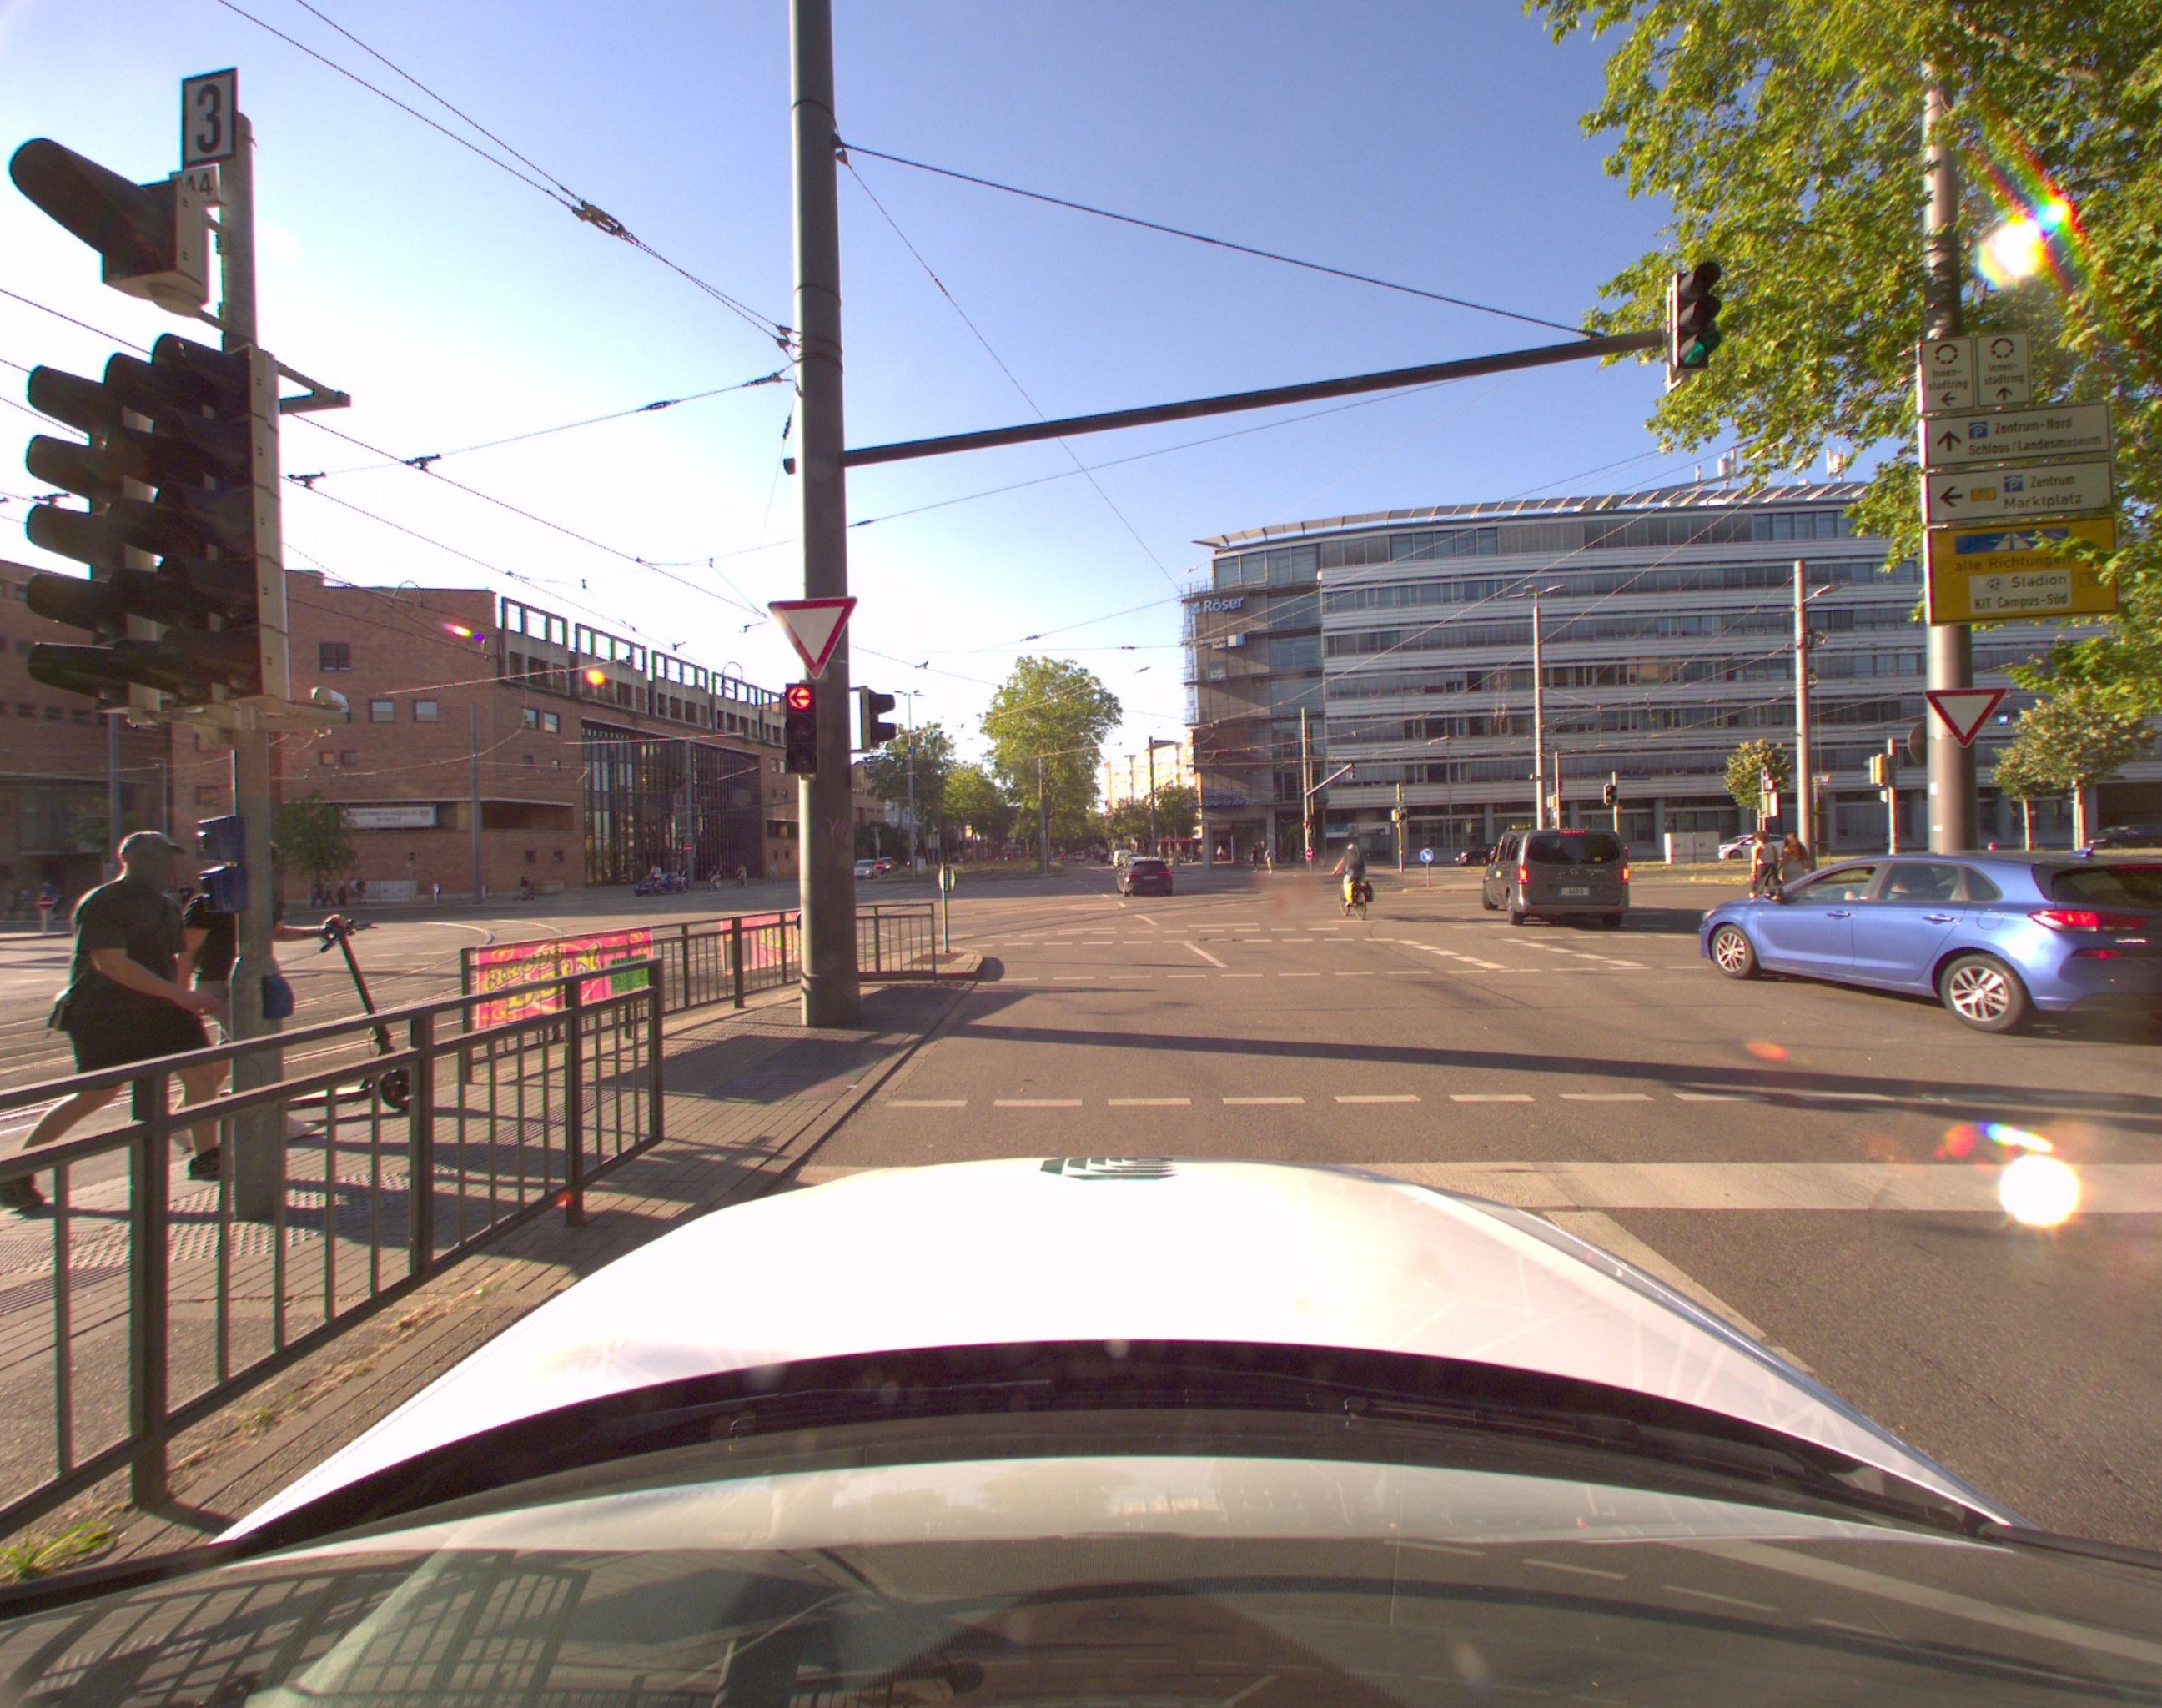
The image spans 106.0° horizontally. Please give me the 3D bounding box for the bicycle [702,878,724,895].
[{"bbox_3d":[-24.305,2.146,53.824,0.692,0.998,1.898,-2,0,-5],"label":"bicycle"}]

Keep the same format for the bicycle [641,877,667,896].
[{"bbox_3d":[-24.140,1.835,46.069,0.652,0.998,1.896,-2,0,-8],"label":"bicycle"}]

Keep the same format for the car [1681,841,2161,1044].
[{"bbox_3d":[8.228,0.633,7.992,1.740,1.459,4.215,-1,0,3],"label":"car"}]

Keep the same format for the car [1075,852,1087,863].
[{"bbox_3d":[0.038,0.666,157.039,1.985,2.014,4.002,0,-3,3],"label":"car"}]

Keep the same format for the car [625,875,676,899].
[{"bbox_3d":[-27.259,2.060,51.646,1.579,1.376,3.706,-2,0,-7],"label":"car"}]

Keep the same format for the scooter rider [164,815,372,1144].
[{"bbox_3d":[-4.919,0.723,4.968,0.563,1.853,0.681,-2,-2,6],"label":"scooter rider"}]

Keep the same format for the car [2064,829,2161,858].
[{"bbox_3d":[58.507,-0.588,45.737,4.097,1.596,1.884,0,-1,5],"label":"car"}]

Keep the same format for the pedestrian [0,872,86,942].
[{"bbox_3d":[-30.992,1.556,24.333,1.029,2.014,1.208,0,-1,1],"label":"pedestrian"}]

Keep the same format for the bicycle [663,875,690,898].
[{"bbox_3d":[-23.041,1.834,46.383,0.684,1.142,2.105,-2,2,-7],"label":"bicycle"}]

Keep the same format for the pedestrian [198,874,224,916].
[{"bbox_3d":[-42.291,1.986,39.572,0.615,2.013,0.726,-2,0,-28],"label":"pedestrian"}]

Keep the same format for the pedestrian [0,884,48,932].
[{"bbox_3d":[-45.069,2.286,34.716,0.782,1.983,0.927,-2,0,0],"label":"pedestrian"}]

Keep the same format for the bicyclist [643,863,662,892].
[{"bbox_3d":[-24.136,1.302,45.888,0.660,1.574,0.756,-2,0,-9],"label":"bicyclist"}]

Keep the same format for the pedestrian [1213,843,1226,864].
[{"bbox_3d":[14.183,-0.060,83.435,1.305,2.190,1.173,0,-1,8],"label":"pedestrian"}]

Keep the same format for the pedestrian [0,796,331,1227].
[{"bbox_3d":[-4.720,0.709,4.044,1.161,1.884,0.856,-2,0,6],"label":"pedestrian"}]

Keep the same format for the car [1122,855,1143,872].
[{"bbox_3d":[5.178,0.957,82.843,2.022,1.596,4.001,0,-1,2],"label":"car"}]

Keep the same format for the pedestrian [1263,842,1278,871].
[{"bbox_3d":[13.341,0.198,57.236,0.866,2.014,0.794,0,-1,1],"label":"pedestrian"}]

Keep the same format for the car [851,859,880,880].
[{"bbox_3d":[-17.940,1.253,67.886,1.618,1.577,3.994,-2,0,-4],"label":"car"}]

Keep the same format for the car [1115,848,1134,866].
[{"bbox_3d":[4.746,0.342,89.713,1.986,2.014,4.001,0,-1,2],"label":"car"}]

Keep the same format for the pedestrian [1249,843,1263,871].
[{"bbox_3d":[12.651,0.226,58.985,0.846,2.014,0.708,0,-1,1],"label":"pedestrian"}]

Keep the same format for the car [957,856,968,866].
[{"bbox_3d":[-21.404,1.264,147.021,1.673,1.607,3.994,0,-1,-4],"label":"car"}]

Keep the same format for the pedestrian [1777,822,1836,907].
[{"bbox_3d":[15.387,0.220,17.287,0.677,1.759,0.746,-2,0,22],"label":"pedestrian"}]

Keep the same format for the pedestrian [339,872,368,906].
[{"bbox_3d":[-45.559,2.194,51.022,1.003,2.052,0.850,-2,0,-1],"label":"pedestrian"}]

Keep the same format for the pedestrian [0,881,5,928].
[{"bbox_3d":[-46.959,2.179,34.878,0.782,2.013,0.651,-2,0,-1],"label":"pedestrian"}]

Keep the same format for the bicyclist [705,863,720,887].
[{"bbox_3d":[-24.346,1.378,53.858,0.660,1.569,0.757,-2,0,-6],"label":"bicyclist"}]

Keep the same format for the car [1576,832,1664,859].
[{"bbox_3d":[32.051,-0.467,48.522,3.966,1.552,1.800,0,-1,6],"label":"car"}]

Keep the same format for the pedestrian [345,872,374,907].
[{"bbox_3d":[-44.202,2.179,49.899,1.003,2.052,0.850,-2,0,-1],"label":"pedestrian"}]

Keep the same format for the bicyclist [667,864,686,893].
[{"bbox_3d":[-23.056,1.407,46.418,0.681,1.560,0.757,-2,2,-8],"label":"bicyclist"}]

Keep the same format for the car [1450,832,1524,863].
[{"bbox_3d":[27.229,-0.429,54.686,3.972,2.014,2.001,0,-1,2],"label":"car"}]

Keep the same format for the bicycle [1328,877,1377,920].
[{"bbox_3d":[5.918,0.961,17.827,0.489,0.788,1.863,-1,1,2],"label":"bicycle"}]

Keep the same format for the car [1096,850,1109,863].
[{"bbox_3d":[3.298,0.402,126.819,1.986,2.014,4.001,0,-1,2],"label":"car"}]

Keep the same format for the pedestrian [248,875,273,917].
[{"bbox_3d":[-39.620,2.015,39.323,0.615,2.013,0.726,-2,0,-29],"label":"pedestrian"}]

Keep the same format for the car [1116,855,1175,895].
[{"bbox_3d":[2.373,0.740,30.875,1.759,1.404,4.293,-1,0,-2],"label":"car"}]

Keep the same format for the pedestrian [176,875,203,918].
[{"bbox_3d":[-42.914,2.014,39.193,0.615,2.013,0.726,-2,0,-28],"label":"pedestrian"}]

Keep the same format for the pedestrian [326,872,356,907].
[{"bbox_3d":[-45.255,2.176,49.827,1.003,2.052,0.850,-2,0,-1],"label":"pedestrian"}]

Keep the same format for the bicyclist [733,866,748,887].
[{"bbox_3d":[-24.241,1.570,57.943,0.652,1.474,1.031,-1,-1,-3],"label":"bicyclist"}]

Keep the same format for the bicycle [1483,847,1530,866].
[{"bbox_3d":[25.604,0.135,49.019,2.397,1.022,0.638,-2,0,6],"label":"bicycle"}]

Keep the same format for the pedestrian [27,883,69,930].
[{"bbox_3d":[-45.106,2.293,35.566,0.782,1.983,0.751,-2,0,-1],"label":"pedestrian"}]

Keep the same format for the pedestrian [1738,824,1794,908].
[{"bbox_3d":[14.731,0.255,17.540,0.671,1.759,0.746,-2,0,22],"label":"pedestrian"}]

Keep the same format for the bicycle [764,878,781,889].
[{"bbox_3d":[-24.328,2.296,64.248,0.588,0.771,1.966,-2,0,-2],"label":"bicycle"}]

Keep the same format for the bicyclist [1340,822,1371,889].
[{"bbox_3d":[5.925,0.032,17.590,0.485,1.439,0.616,0,0,1],"label":"bicyclist"}]

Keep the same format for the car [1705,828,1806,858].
[{"bbox_3d":[37.419,-0.580,45.261,3.968,1.596,1.884,0,-1,5],"label":"car"}]

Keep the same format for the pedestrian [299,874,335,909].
[{"bbox_3d":[-45.130,2.209,48.126,1.155,2.013,0.910,-2,0,-2],"label":"pedestrian"}]

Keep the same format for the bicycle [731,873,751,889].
[{"bbox_3d":[-24.220,1.926,57.973,0.650,1.050,2.010,-1,0,-3],"label":"bicycle"}]

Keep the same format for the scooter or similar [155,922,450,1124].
[{"bbox_3d":[-4.735,1.003,5.003,1.196,1.081,0.649,-2,0,5],"label":"scooter or similar"}]

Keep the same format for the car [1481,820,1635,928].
[{"bbox_3d":[9.642,0.336,16.879,1.984,1.896,4.908,-1,0,21],"label":"car"}]

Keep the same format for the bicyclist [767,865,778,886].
[{"bbox_3d":[-24.354,1.719,64.314,0.585,1.625,0.514,-2,0,-3],"label":"bicyclist"}]

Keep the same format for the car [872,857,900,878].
[{"bbox_3d":[-18.078,1.214,75.498,1.819,1.790,3.994,-2,0,-4],"label":"car"}]

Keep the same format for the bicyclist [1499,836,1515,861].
[{"bbox_3d":[25.645,-0.336,49.009,0.660,1.503,0.614,-2,0,7],"label":"bicyclist"}]
